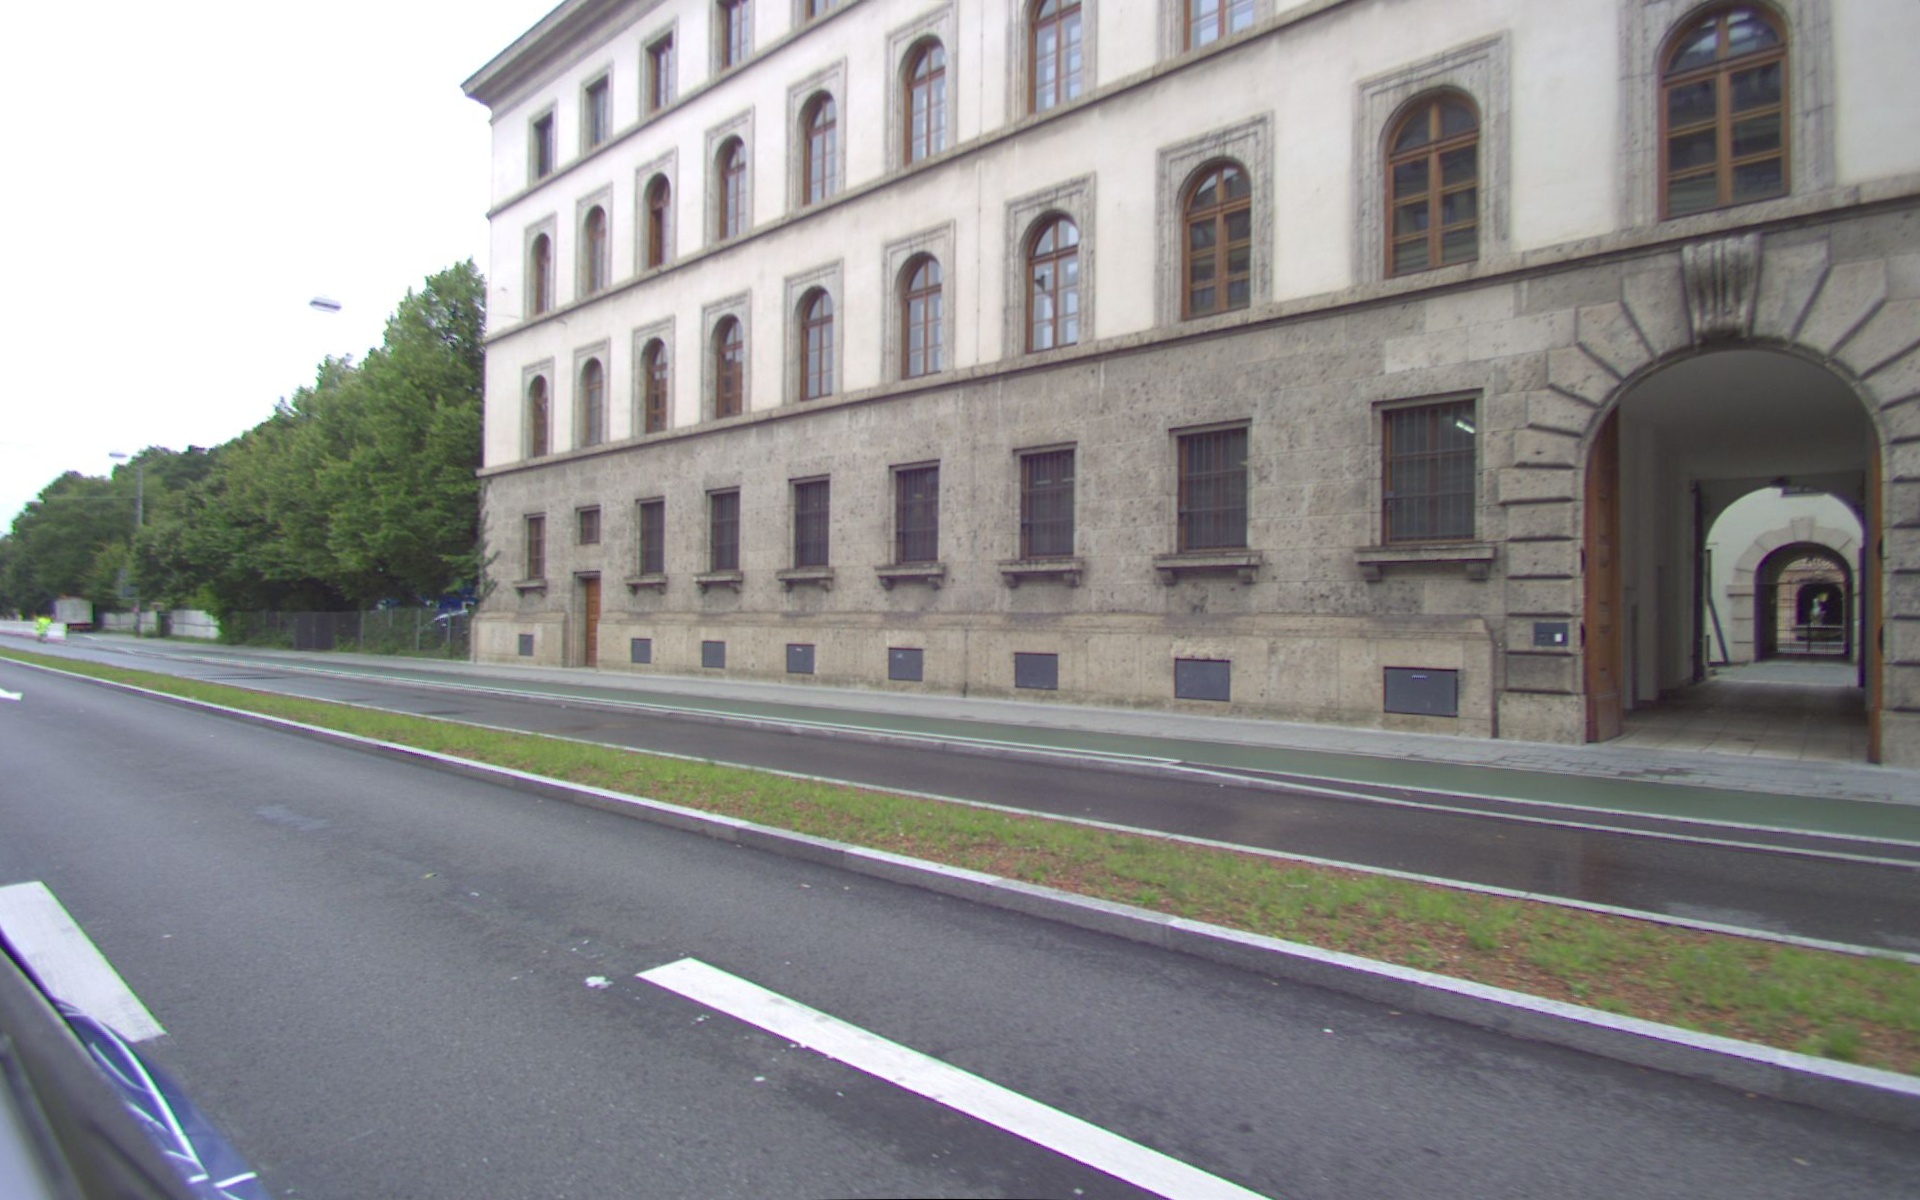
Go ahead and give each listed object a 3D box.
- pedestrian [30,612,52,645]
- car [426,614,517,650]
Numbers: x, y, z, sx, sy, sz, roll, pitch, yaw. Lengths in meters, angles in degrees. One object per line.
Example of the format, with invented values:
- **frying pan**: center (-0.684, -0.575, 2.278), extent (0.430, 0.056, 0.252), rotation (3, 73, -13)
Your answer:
- **pedestrian**: center (-56.859, 1.763, 62.607), extent (0.862, 2.029, 0.752), rotation (-1, -1, 23)
- **car**: center (-25.947, 1.672, 53.826), extent (1.877, 1.722, 3.981), rotation (2, 2, 45)
